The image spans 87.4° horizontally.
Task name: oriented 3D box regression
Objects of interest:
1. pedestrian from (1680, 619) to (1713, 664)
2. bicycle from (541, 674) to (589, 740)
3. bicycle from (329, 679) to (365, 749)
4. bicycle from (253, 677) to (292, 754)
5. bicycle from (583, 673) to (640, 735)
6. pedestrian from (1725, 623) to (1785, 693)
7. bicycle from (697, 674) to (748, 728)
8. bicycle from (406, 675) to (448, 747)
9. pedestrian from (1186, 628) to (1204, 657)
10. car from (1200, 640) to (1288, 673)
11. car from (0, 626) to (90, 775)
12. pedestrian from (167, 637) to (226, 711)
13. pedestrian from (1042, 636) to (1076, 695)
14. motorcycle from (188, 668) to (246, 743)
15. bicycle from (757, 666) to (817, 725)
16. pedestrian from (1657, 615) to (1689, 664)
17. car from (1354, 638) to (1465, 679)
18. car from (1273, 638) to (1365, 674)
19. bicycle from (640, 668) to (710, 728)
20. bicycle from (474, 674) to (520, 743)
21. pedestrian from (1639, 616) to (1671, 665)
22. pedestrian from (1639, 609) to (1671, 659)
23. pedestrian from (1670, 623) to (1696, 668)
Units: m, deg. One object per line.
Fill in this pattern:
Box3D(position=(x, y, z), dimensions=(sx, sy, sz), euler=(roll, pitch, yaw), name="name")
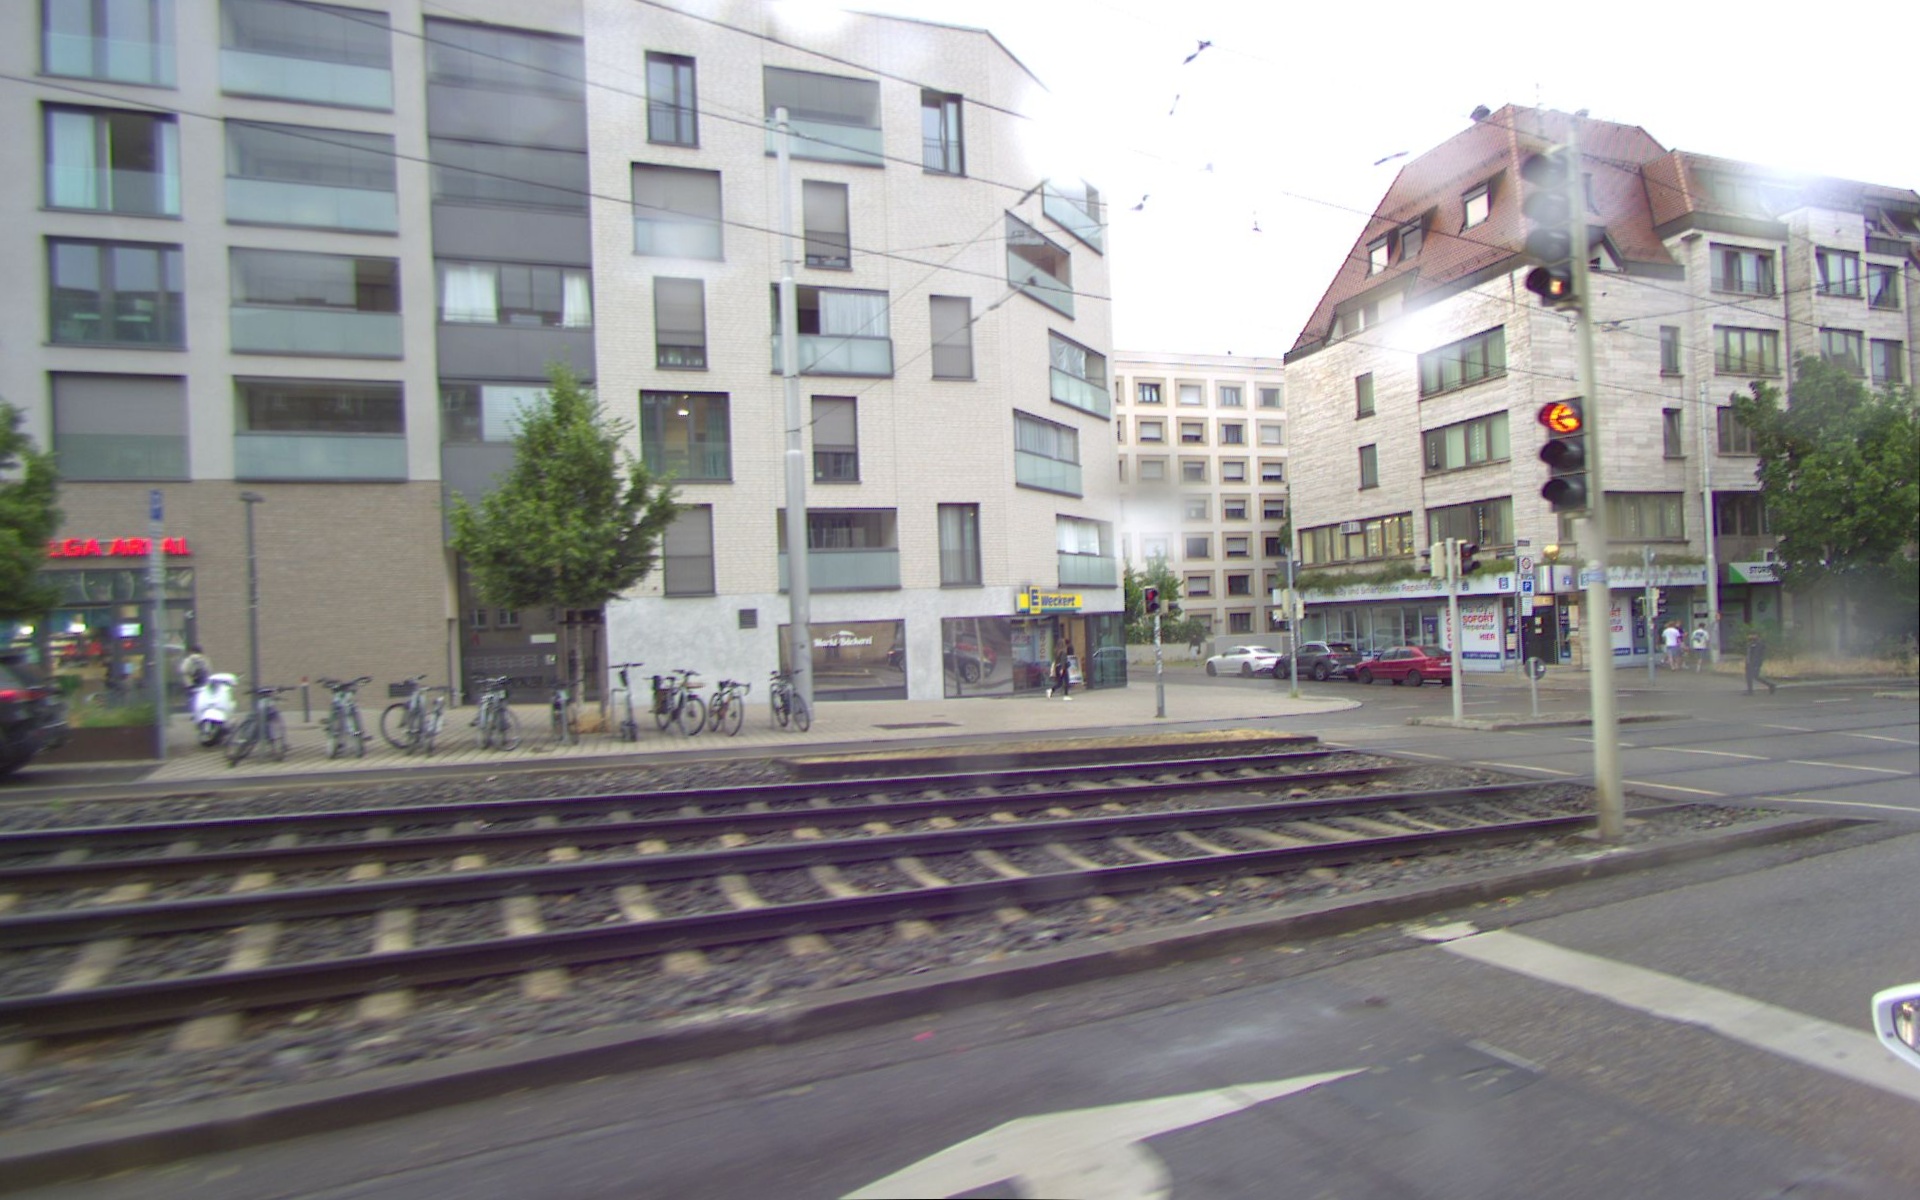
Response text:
Box3D(position=(26.105, 1.462, 35.597), dimensions=(0.673, 1.569, 0.646), euler=(2, 0, -21), name="pedestrian")
Box3D(position=(-6.556, 1.738, 16.620), dimensions=(0.383, 0.930, 1.773), euler=(2, -1, -33), name="bicycle")
Box3D(position=(-9.082, 1.650, 14.860), dimensions=(0.383, 0.929, 1.773), euler=(2, -3, -33), name="bicycle")
Box3D(position=(-9.877, 1.628, 14.457), dimensions=(0.383, 0.930, 1.773), euler=(2, -2, -33), name="bicycle")
Box3D(position=(-5.955, 1.741, 17.102), dimensions=(0.384, 0.930, 1.770), euler=(2, -2, -37), name="bicycle")
Box3D(position=(21.775, 1.578, 27.513), dimensions=(0.947, 1.854, 0.927), euler=(2, 0, -27), name="pedestrian")
Box3D(position=(-4.331, 1.808, 18.260), dimensions=(0.383, 0.887, 1.775), euler=(2, -3, -30), name="bicycle")
Box3D(position=(-8.052, 1.642, 15.143), dimensions=(0.383, 0.930, 1.773), euler=(2, -2, -33), name="bicycle")
Box3D(position=(13.113, 2.372, 55.995), dimensions=(0.640, 1.569, 0.680), euler=(2, 0, -21), name="pedestrian")
Box3D(position=(12.879, 2.557, 45.814), dimensions=(1.569, 1.335, 4.483), euler=(2, -2, -19), name="car")
Box3D(position=(-12.611, 1.086, 11.063), dimensions=(4.279, 1.625, 1.672), euler=(2, -1, -30), name="car")
Box3D(position=(-15.724, 1.517, 20.704), dimensions=(0.790, 1.468, 0.539), euler=(2, 0, -17), name="pedestrian")
Box3D(position=(2.751, 1.798, 27.798), dimensions=(0.637, 1.590, 0.775), euler=(0, -1, 33), name="pedestrian")
Box3D(position=(-11.615, 1.623, 15.733), dimensions=(0.537, 1.056, 1.749), euler=(4, -4, -32), name="motorcycle")
Box3D(position=(-3.255, 1.765, 18.841), dimensions=(0.436, 0.993, 1.773), euler=(2, -2, -33), name="bicycle")
Box3D(position=(25.712, 1.422, 36.231), dimensions=(0.673, 1.747, 0.646), euler=(2, 0, -21), name="pedestrian")
Box3D(position=(16.268, 2.086, 36.545), dimensions=(1.569, 1.335, 3.690), euler=(2, -2, -19), name="car")
Box3D(position=(14.651, 2.261, 41.172), dimensions=(1.569, 1.335, 3.690), euler=(2, -2, -19), name="car")
Box3D(position=(-5.181, 1.759, 18.220), dimensions=(1.765, 0.930, 0.385), euler=(1, -1, 44), name="bicycle")
Box3D(position=(-7.320, 1.680, 15.846), dimensions=(0.383, 0.930, 1.773), euler=(2, -2, -33), name="bicycle")
Box3D(position=(25.505, 1.482, 36.875), dimensions=(0.673, 1.772, 0.646), euler=(2, 0, -21), name="pedestrian")
Box3D(position=(26.410, 1.292, 38.172), dimensions=(0.673, 1.867, 0.646), euler=(2, 0, -21), name="pedestrian")
Box3D(position=(26.413, 1.654, 36.705), dimensions=(0.577, 1.619, 0.503), euler=(2, 0, -21), name="pedestrian")
